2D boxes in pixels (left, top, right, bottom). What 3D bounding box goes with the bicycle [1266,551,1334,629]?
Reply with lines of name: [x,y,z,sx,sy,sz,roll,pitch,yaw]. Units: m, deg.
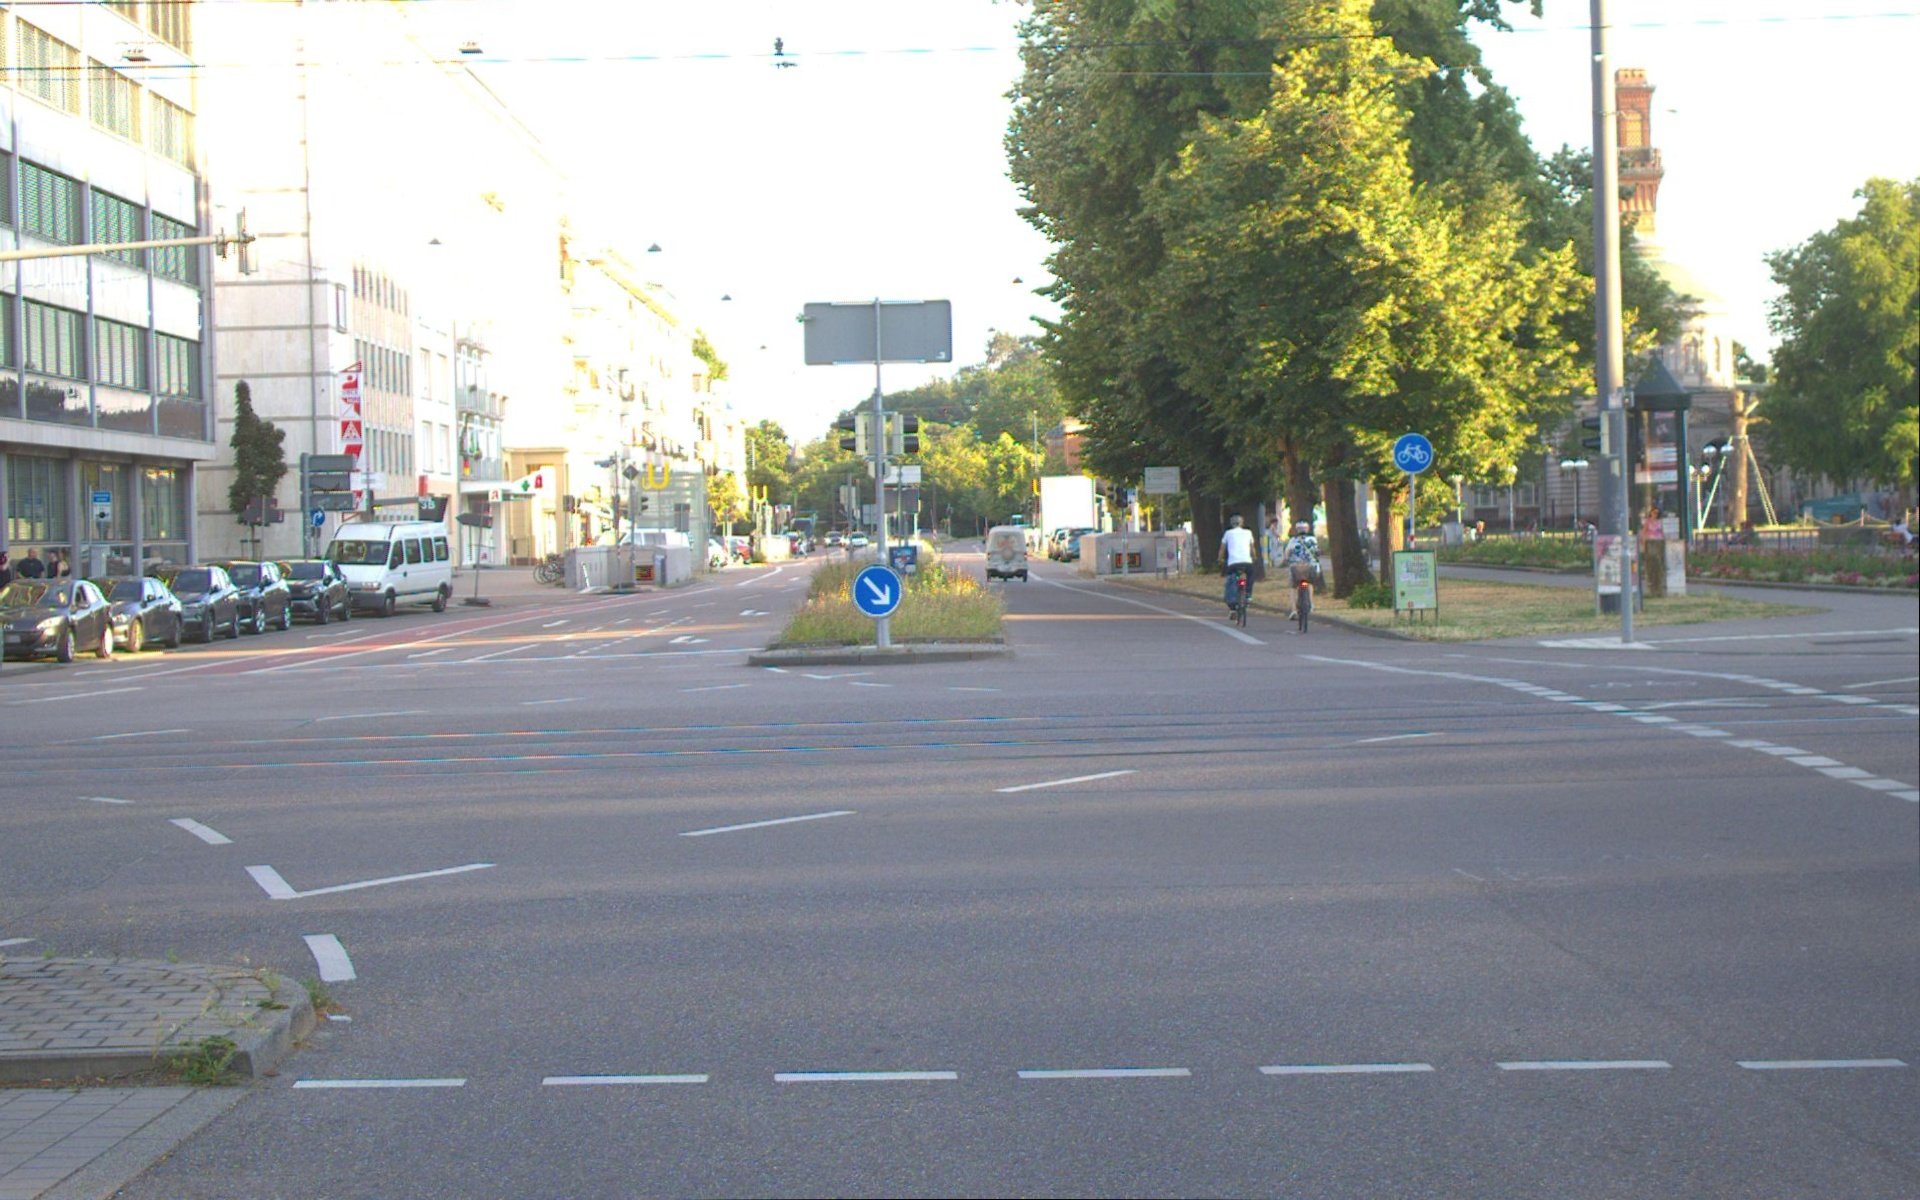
bicycle: [5.260,-0.169,53.315,0.746,1.140,2.505,-2,1,-1]

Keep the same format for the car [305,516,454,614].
car: [-15.347,-0.962,91.212,2.002,2.469,5.865,-1,1,10]

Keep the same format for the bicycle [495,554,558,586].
bicycle: [-15.824,-1.105,125.416,2.205,1.108,0.619,-2,1,-2]

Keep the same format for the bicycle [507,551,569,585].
bicycle: [-15.833,-1.200,128.875,2.205,1.232,0.839,-2,1,-2]

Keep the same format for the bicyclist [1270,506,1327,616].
bicyclist: [5.245,-0.608,53.313,0.746,1.685,0.799,-2,1,-1]

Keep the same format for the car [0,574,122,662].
car: [-16.541,0.303,61.892,1.920,1.459,4.103,-2,1,-1]

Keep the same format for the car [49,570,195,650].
car: [-16.634,0.177,68.422,1.920,1.459,4.000,-2,1,-1]

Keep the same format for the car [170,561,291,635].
car: [-16.621,-0.068,78.538,1.920,1.563,4.000,-2,1,-1]

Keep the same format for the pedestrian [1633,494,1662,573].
pedestrian: [14.506,-1.399,72.542,0.460,1.651,0.567,-1,1,-1]

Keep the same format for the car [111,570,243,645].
car: [-16.640,0.132,73.237,1.920,1.459,4.000,-2,1,-1]

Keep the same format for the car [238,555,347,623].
car: [-16.426,-0.297,84.765,1.920,1.563,4.000,-2,1,-1]

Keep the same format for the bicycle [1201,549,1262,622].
bicycle: [4.438,-0.258,56.390,0.746,1.140,2.505,-2,1,-1]

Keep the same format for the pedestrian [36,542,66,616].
pedestrian: [-20.770,-0.486,78.540,0.500,1.673,0.500,-1,1,-1]

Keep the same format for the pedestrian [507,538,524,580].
pedestrian: [-21.327,-1.964,165.025,0.680,2.007,0.545,-2,1,0]

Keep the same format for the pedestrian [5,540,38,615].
pedestrian: [-21.391,-0.516,78.363,0.551,1.673,0.500,-1,1,-1]

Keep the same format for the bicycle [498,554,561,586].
bicycle: [-15.920,-1.103,127.108,2.205,1.108,0.689,-2,1,-2]

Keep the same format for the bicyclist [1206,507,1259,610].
bicyclist: [4.432,-0.678,55.980,0.746,1.658,0.873,-2,1,-1]

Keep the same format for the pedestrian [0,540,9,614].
pedestrian: [-21.974,-0.521,78.103,0.551,1.673,0.500,-1,1,-1]

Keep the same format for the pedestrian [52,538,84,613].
pedestrian: [-20.194,-0.552,77.844,0.551,1.673,0.500,-1,1,-1]

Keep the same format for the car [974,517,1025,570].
car: [1.250,-1.812,109.791,1.408,1.636,4.000,-2,1,-2]
